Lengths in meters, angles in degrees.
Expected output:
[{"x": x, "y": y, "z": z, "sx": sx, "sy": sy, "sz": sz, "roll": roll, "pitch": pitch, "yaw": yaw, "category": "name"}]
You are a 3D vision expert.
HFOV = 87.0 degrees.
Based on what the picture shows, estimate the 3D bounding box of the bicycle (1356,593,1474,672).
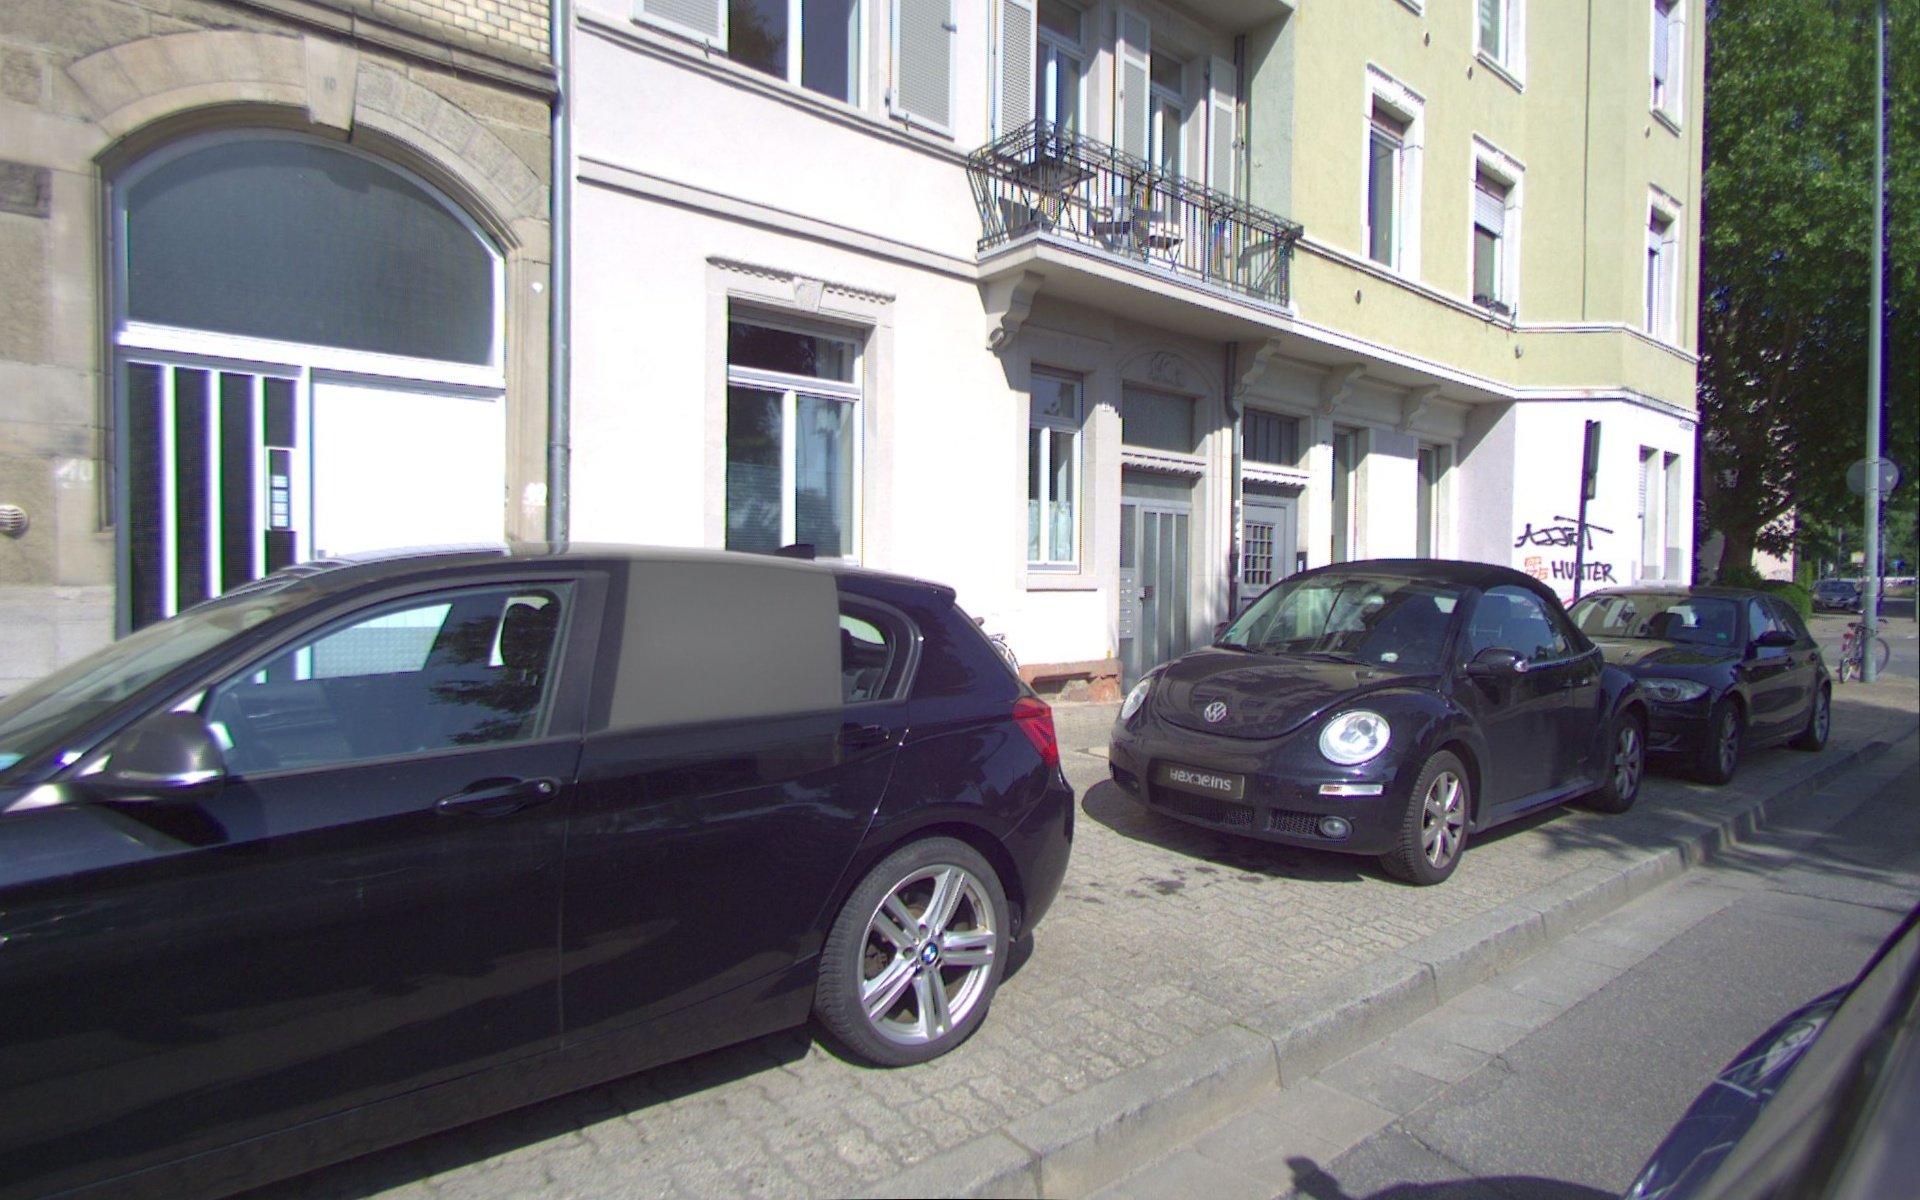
[{"x": 6.178, "y": 0.406, "z": 13.685, "sx": 2.077, "sy": 0.957, "sz": 0.609, "roll": -1, "pitch": 2, "yaw": -41, "category": "bicycle"}]

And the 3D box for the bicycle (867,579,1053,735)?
[{"x": 0.029, "y": 0.427, "z": 8.577, "sx": 1.598, "sy": 1.195, "sz": 0.567, "roll": -1, "pitch": 2, "yaw": -41, "category": "bicycle"}]

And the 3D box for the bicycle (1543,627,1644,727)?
[{"x": 6.601, "y": 0.766, "z": 10.520, "sx": 1.554, "sy": 0.902, "sz": 0.448, "roll": -1, "pitch": 3, "yaw": -42, "category": "bicycle"}]

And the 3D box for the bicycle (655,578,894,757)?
[{"x": -1.333, "y": 0.433, "z": 7.437, "sx": 1.598, "sy": 1.160, "sz": 0.656, "roll": -1, "pitch": 3, "yaw": -41, "category": "bicycle"}]

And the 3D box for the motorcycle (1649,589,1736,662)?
[{"x": 13.112, "y": 0.425, "z": 18.173, "sx": 0.466, "sy": 1.164, "sz": 1.761, "roll": 2, "pitch": 3, "yaw": 9, "category": "motorcycle"}]

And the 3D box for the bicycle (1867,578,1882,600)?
[{"x": 50.218, "y": -0.617, "z": 55.588, "sx": 0.552, "sy": 1.203, "sz": 1.267, "roll": 2, "pitch": 2, "yaw": 42, "category": "bicycle"}]

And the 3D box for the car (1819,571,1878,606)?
[{"x": 40.754, "y": -0.556, "z": 46.497, "sx": 1.784, "sy": 1.531, "sz": 3.840, "roll": 1, "pitch": 2, "yaw": 38, "category": "car"}]

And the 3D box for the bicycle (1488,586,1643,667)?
[{"x": 8.608, "y": 0.361, "z": 14.425, "sx": 1.795, "sy": 1.059, "sz": 0.538, "roll": 2, "pitch": 2, "yaw": 4, "category": "bicycle"}]

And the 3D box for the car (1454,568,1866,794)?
[{"x": 6.001, "y": 0.483, "z": 8.515, "sx": 4.007, "sy": 1.433, "sz": 1.745, "roll": -1, "pitch": 3, "yaw": -39, "category": "car"}]

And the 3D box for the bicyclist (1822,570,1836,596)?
[{"x": 64.888, "y": -1.274, "z": 75.538, "sx": 0.643, "sy": 1.918, "sz": 0.829, "roll": 2, "pitch": 2, "yaw": 33, "category": "bicyclist"}]

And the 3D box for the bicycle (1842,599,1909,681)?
[{"x": 13.527, "y": 0.559, "z": 14.942, "sx": 1.705, "sy": 1.101, "sz": 0.577, "roll": -1, "pitch": 2, "yaw": -43, "category": "bicycle"}]

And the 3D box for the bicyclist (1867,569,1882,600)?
[{"x": 50.235, "y": -0.848, "z": 55.600, "sx": 0.539, "sy": 1.653, "sz": 0.580, "roll": 2, "pitch": 2, "yaw": 42, "category": "bicyclist"}]

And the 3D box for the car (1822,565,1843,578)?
[{"x": 118.993, "y": -3.883, "z": 138.013, "sx": 1.623, "sy": 1.834, "sz": 3.550, "roll": 2, "pitch": 2, "yaw": 33, "category": "car"}]

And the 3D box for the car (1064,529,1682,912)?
[{"x": 2.587, "y": 0.416, "z": 5.893, "sx": 3.939, "sy": 1.519, "sz": 1.646, "roll": -1, "pitch": 3, "yaw": -40, "category": "car"}]

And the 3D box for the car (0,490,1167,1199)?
[{"x": -1.426, "y": 0.523, "z": 2.764, "sx": 4.051, "sy": 1.471, "sz": 1.647, "roll": -1, "pitch": 2, "yaw": -37, "category": "car"}]

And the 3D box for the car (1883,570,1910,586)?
[{"x": 105.388, "y": -2.497, "z": 113.890, "sx": 1.623, "sy": 1.834, "sz": 3.550, "roll": 2, "pitch": 2, "yaw": 33, "category": "car"}]
